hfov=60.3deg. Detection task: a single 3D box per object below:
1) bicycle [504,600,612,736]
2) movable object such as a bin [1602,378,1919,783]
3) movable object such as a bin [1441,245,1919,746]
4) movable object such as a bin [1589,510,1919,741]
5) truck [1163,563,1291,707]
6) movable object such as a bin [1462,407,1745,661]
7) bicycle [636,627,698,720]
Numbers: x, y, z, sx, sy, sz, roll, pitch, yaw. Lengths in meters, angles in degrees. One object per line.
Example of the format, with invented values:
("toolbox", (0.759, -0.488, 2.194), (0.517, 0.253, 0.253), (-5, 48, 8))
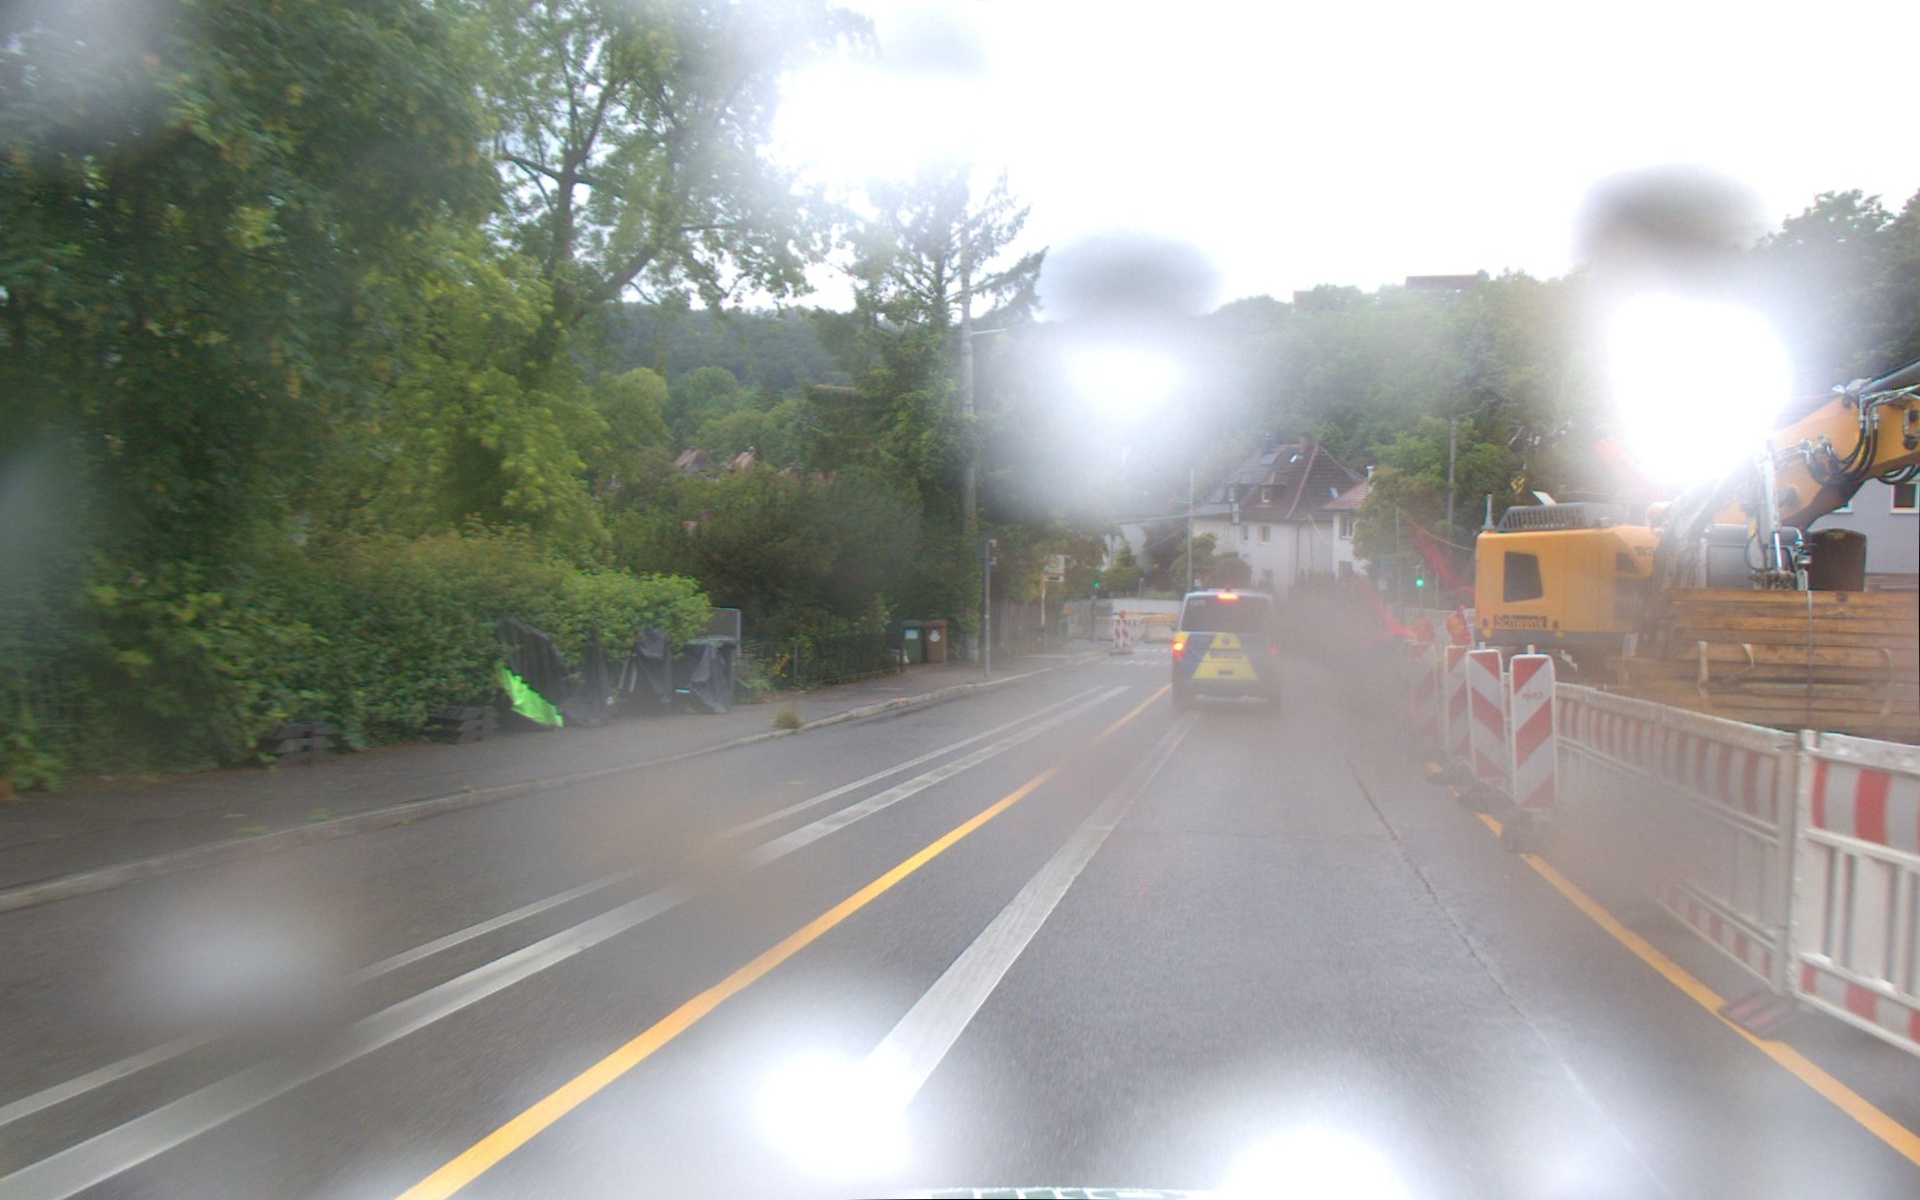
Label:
("bicycle", (-4.279, 0.711, 17.710), (0.411, 1.373, 1.744), (1, -1, 10))
("movable object such as a bin", (7.619, -0.090, 15.672), (1.951, 3.363, 3.837), (0, -3, 7))
("movable object such as a bin", (10.250, -0.951, 18.607), (3.018, 5.005, 10.731), (2, -3, -25))
("movable object such as a bin", (12.330, 0.329, 25.896), (3.905, 3.257, 2.409), (1, 6, 1))
("truck", (4.722, 0.511, 28.756), (1.951, 2.048, 4.741), (-1, 4, 12))
("movable object such as a bin", (17.822, -1.808, 46.241), (6.802, 6.807, 3.048), (1, 0, 7))
("bicycle", (-3.702, 0.918, 20.955), (0.331, 1.127, 1.257), (1, -1, 10))
